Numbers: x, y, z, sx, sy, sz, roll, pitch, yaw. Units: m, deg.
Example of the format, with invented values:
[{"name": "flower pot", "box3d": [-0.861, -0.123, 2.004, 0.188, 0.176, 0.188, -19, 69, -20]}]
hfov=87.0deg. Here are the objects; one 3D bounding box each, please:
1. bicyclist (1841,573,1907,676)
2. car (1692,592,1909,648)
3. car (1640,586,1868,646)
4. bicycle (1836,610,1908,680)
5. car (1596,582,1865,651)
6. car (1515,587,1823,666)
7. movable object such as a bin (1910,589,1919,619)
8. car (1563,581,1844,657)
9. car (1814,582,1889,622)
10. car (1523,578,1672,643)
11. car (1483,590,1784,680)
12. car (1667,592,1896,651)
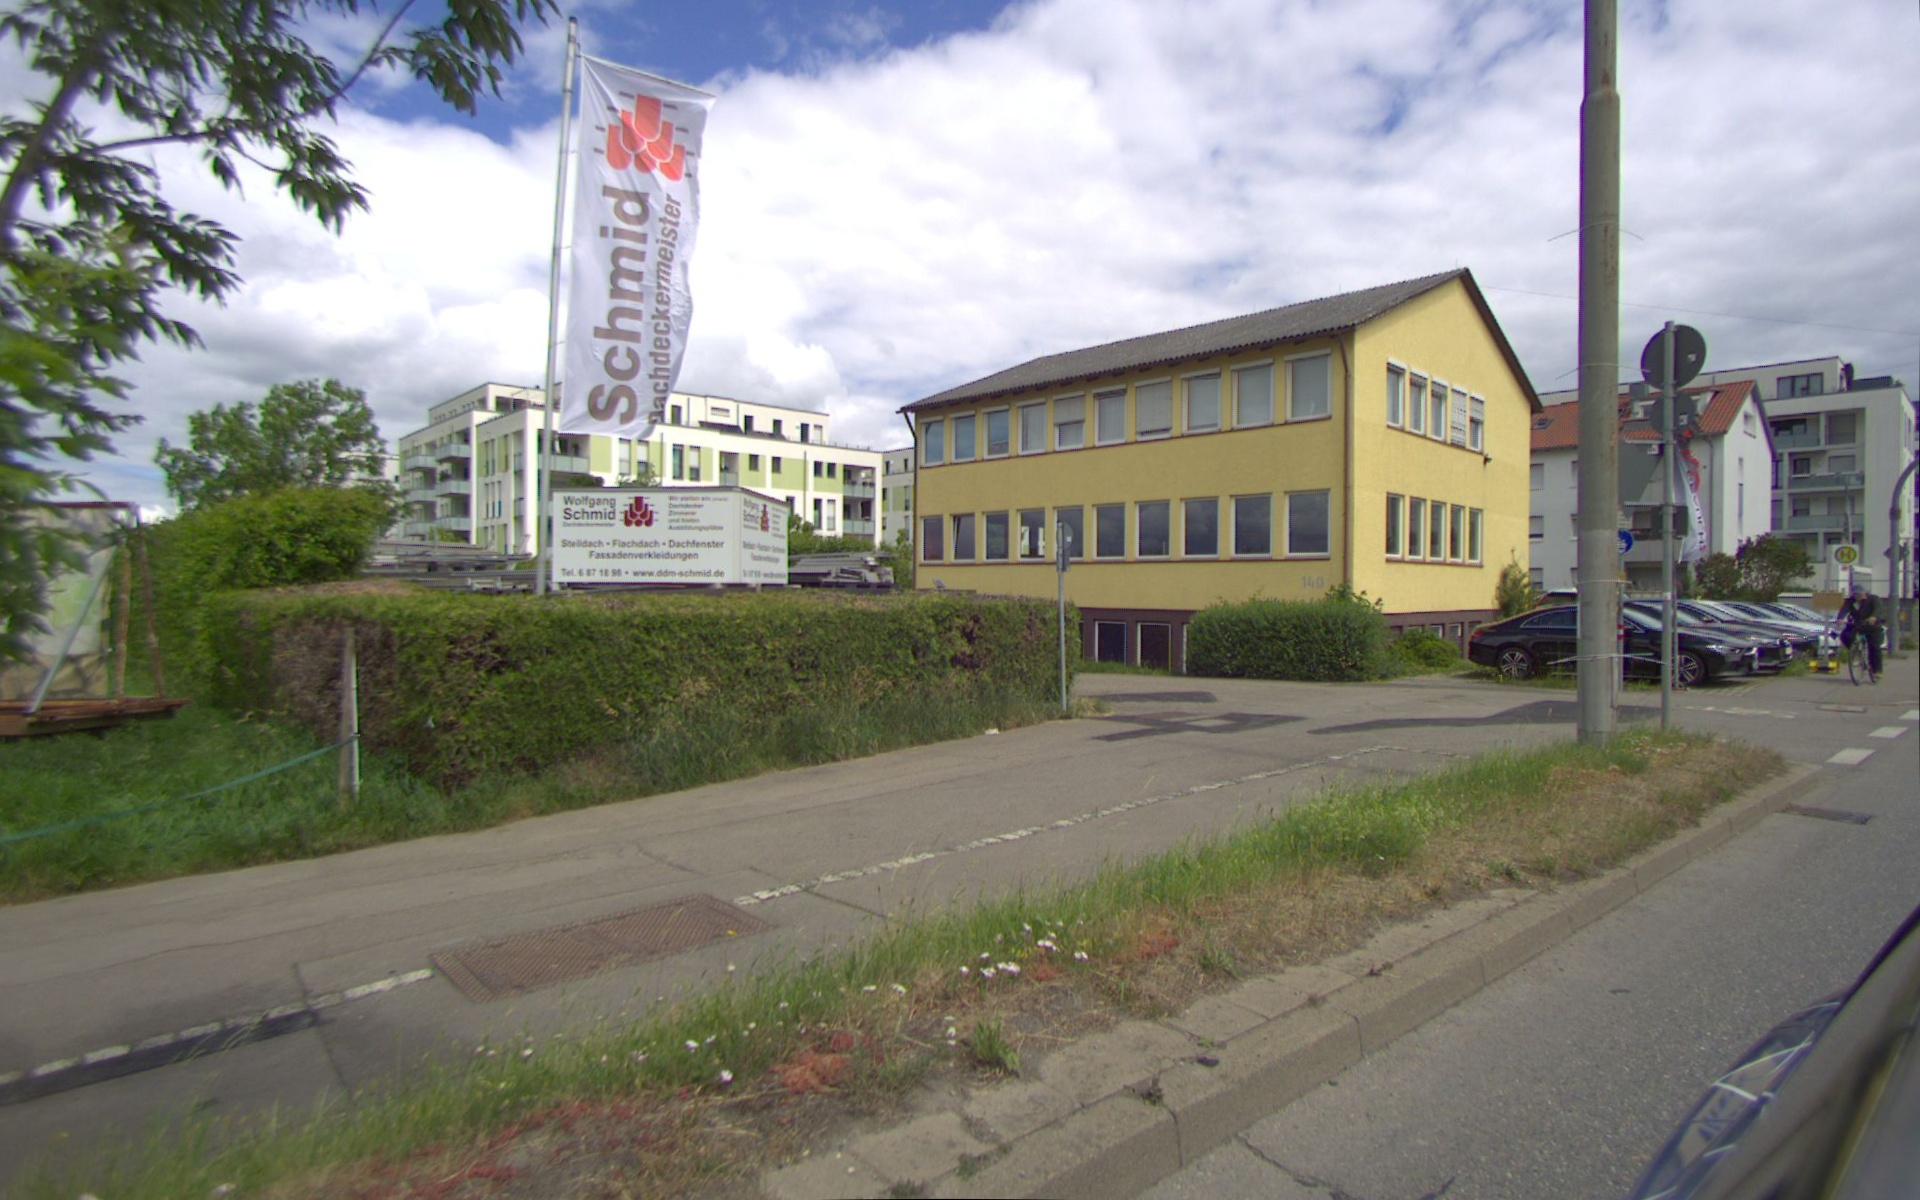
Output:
[{"name": "bicyclist", "box3d": [15.821, 0.398, 17.518, 0.874, 1.695, 0.639, 0, 4, -41]}, {"name": "car", "box3d": [24.722, 0.546, 29.907, 2.010, 1.512, 4.703, 0, 0, -41]}, {"name": "car", "box3d": [20.442, 0.409, 26.181, 1.955, 1.422, 4.373, 0, -1, -42]}, {"name": "bicycle", "box3d": [15.756, 0.748, 17.475, 1.943, 1.076, 0.639, 0, 4, -41]}, {"name": "car", "box3d": [18.370, 0.391, 24.354, 1.995, 1.499, 4.809, 0, -1, -39]}, {"name": "car", "box3d": [14.460, 0.521, 20.910, 2.002, 1.449, 4.860, 0, -1, -40]}, {"name": "movable object such as a bin", "box3d": [46.526, 0.190, 48.306, 1.225, 1.378, 1.326, -1, 1, -25]}, {"name": "car", "box3d": [16.378, 0.407, 22.521, 1.979, 1.512, 4.685, 0, -1, -40]}, {"name": "car", "box3d": [36.870, 0.057, 41.832, 4.445, 1.564, 1.878, 0, 1, -43]}, {"name": "car", "box3d": [20.086, 0.256, 31.824, 4.931, 1.844, 1.984, -1, 2, -31]}, {"name": "car", "box3d": [12.441, 0.610, 18.891, 1.971, 1.416, 4.325, -2, 1, -43]}, {"name": "car", "box3d": [22.632, 0.533, 28.026, 1.999, 1.512, 4.666, 0, 0, -41]}]
